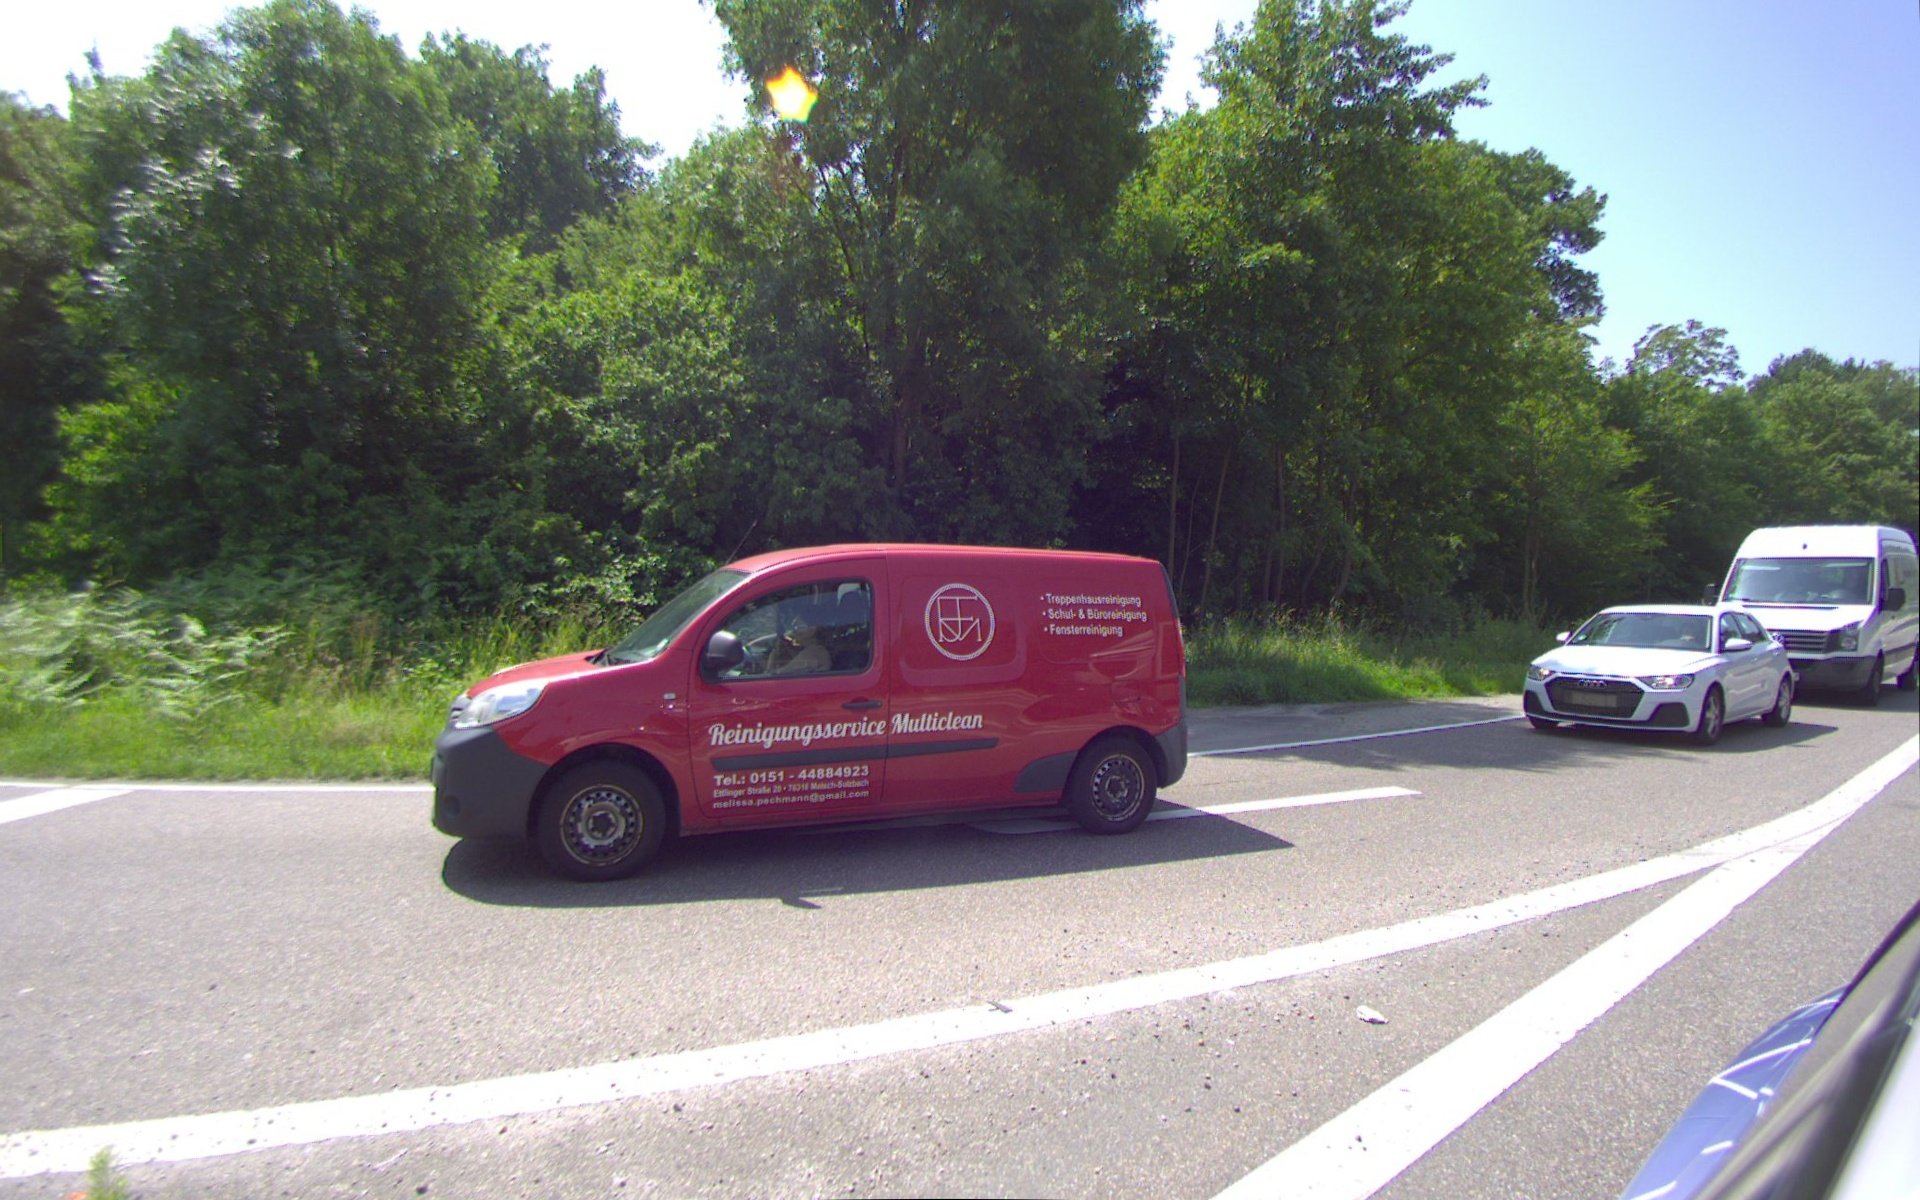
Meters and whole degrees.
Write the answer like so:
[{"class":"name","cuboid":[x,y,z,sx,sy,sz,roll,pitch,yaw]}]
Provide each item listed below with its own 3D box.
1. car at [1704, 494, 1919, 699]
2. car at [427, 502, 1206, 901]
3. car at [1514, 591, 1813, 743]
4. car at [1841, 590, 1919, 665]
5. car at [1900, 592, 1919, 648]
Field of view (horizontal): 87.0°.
[{"class":"car","cuboid":[13.727,-0.057,15.878,5.952,2.678,1.973,0,0,-40]},{"class":"car","cuboid":[-0.805,0.462,6.394,4.402,1.846,1.801,0,0,-24]},{"class":"car","cuboid":[8.112,0.635,11.558,3.927,1.454,1.694,0,-1,-38]},{"class":"car","cuboid":[20.423,0.529,21.711,4.156,1.479,1.794,-1,0,-42]},{"class":"car","cuboid":[25.676,0.491,26.055,4.156,1.372,1.795,-1,1,-42]}]
